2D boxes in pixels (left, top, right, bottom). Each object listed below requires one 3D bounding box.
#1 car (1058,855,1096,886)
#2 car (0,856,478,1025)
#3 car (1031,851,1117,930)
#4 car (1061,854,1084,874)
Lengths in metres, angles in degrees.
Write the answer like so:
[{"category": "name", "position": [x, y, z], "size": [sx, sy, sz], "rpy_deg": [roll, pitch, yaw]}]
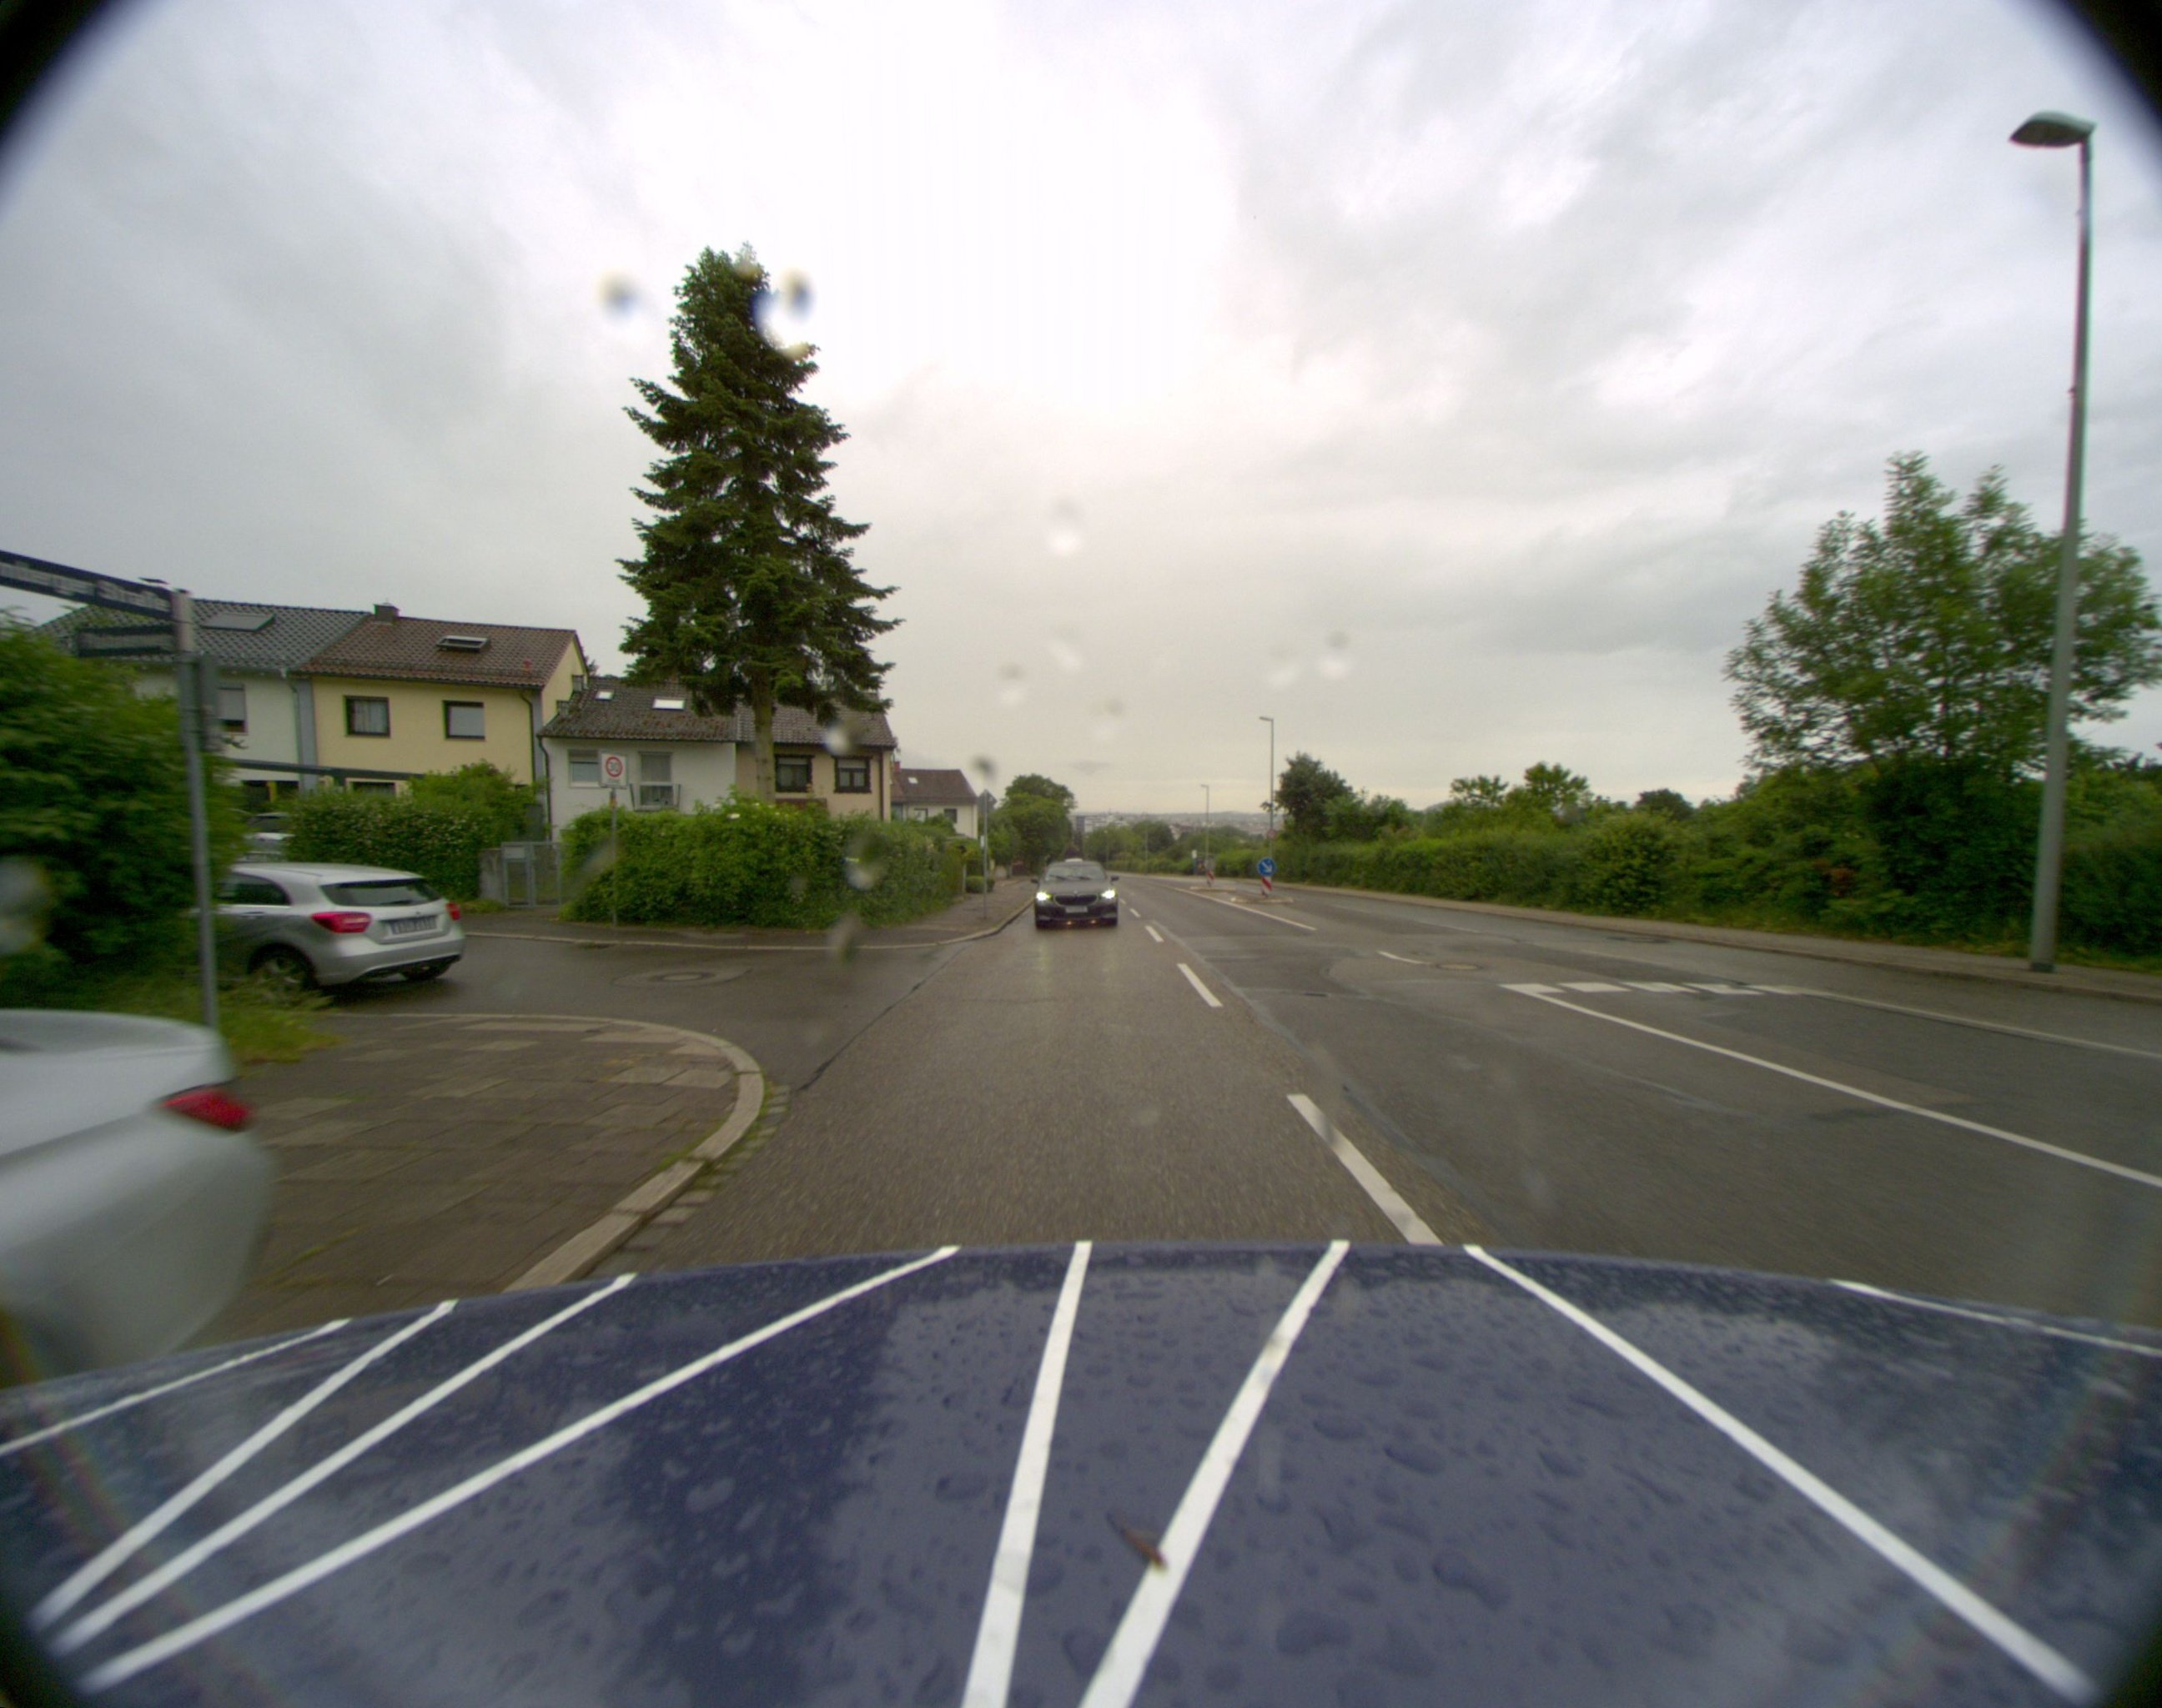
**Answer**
[{"category": "car", "position": [-0.295, 0.877, 43.474], "size": [1.999, 1.674, 4.172], "rpy_deg": [0, 0, -3]}, {"category": "car", "position": [-9.454, 0.889, 8.671], "size": [3.782, 1.503, 1.727], "rpy_deg": [3, 1, 3]}, {"category": "car", "position": [-0.061, 0.794, 18.626], "size": [1.828, 1.668, 4.296], "rpy_deg": [-2, 0, 2]}, {"category": "car", "position": [-0.800, 0.855, 67.940], "size": [1.999, 1.674, 4.173], "rpy_deg": [0, 0, -2]}]
